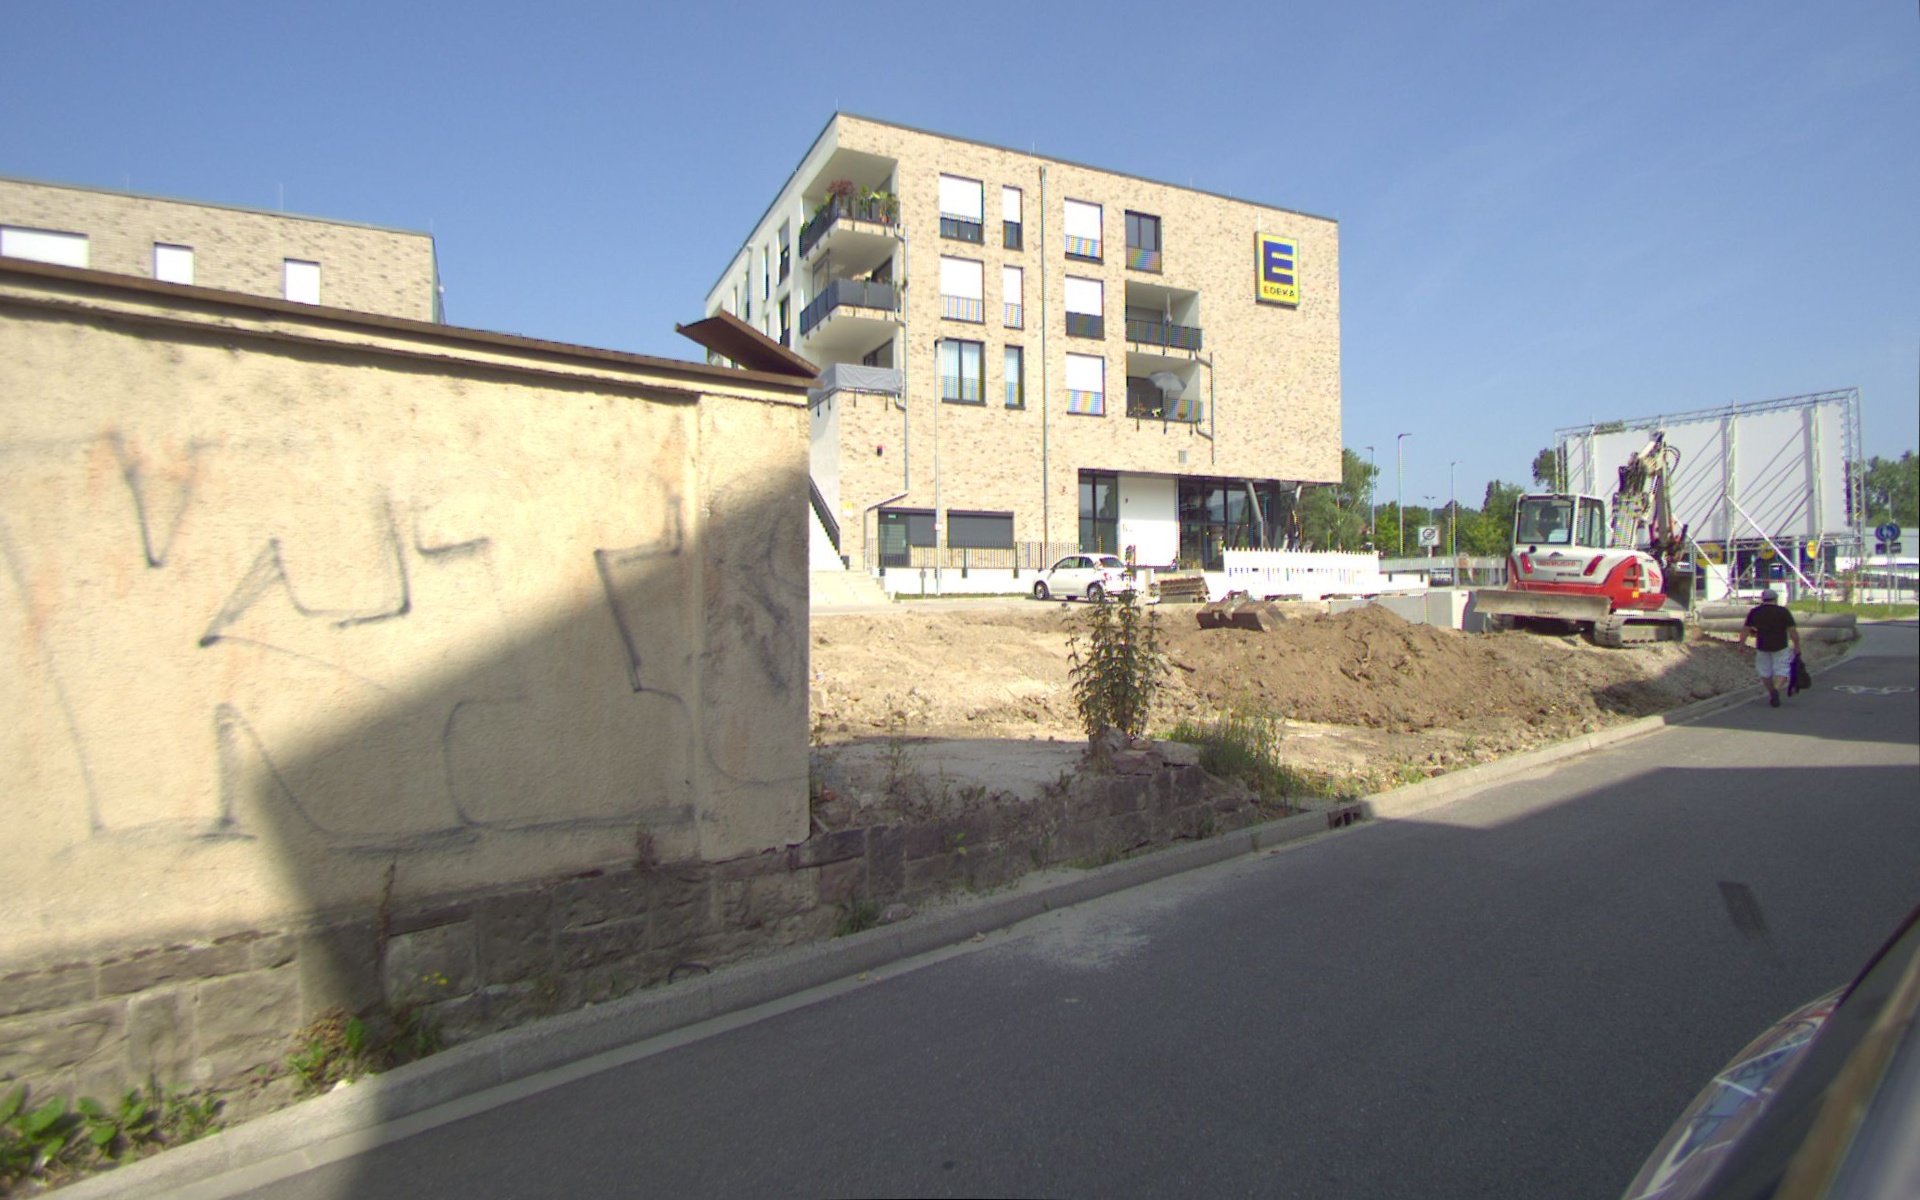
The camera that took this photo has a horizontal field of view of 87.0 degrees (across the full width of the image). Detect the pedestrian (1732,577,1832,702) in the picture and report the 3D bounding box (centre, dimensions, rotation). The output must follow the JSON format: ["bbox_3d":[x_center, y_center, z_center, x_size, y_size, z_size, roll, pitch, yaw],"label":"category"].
[{"bbox_3d":[11.678,0.556,14.386,0.706,1.705,0.890,-1,-2,-40],"label":"pedestrian"}]

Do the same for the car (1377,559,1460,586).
[{"bbox_3d":[29.344,-1.722,64.915,1.819,1.575,4.831,2,0,-24],"label":"car"}]

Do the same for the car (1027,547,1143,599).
[{"bbox_3d":[3.826,-0.816,31.436,1.567,1.513,3.411,-2,1,-40],"label":"car"}]

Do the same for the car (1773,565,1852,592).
[{"bbox_3d":[61.886,-1.530,73.497,1.746,1.595,4.017,1,-4,-38],"label":"car"}]

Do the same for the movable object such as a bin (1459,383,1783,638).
[{"bbox_3d":[12.509,-1.411,18.852,7.653,3.904,2.301,-1,-3,-36],"label":"movable object such as a bin"}]

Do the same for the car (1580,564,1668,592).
[{"bbox_3d":[46.071,-1.489,70.345,1.882,1.550,4.867,-1,-3,-19],"label":"car"}]

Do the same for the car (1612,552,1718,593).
[{"bbox_3d":[50.760,-1.923,73.062,2.017,2.415,6.100,0,-3,-21],"label":"car"}]

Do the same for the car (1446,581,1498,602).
[{"bbox_3d":[41.946,-0.657,82.945,3.708,1.595,1.765,0,-3,-23],"label":"car"}]
